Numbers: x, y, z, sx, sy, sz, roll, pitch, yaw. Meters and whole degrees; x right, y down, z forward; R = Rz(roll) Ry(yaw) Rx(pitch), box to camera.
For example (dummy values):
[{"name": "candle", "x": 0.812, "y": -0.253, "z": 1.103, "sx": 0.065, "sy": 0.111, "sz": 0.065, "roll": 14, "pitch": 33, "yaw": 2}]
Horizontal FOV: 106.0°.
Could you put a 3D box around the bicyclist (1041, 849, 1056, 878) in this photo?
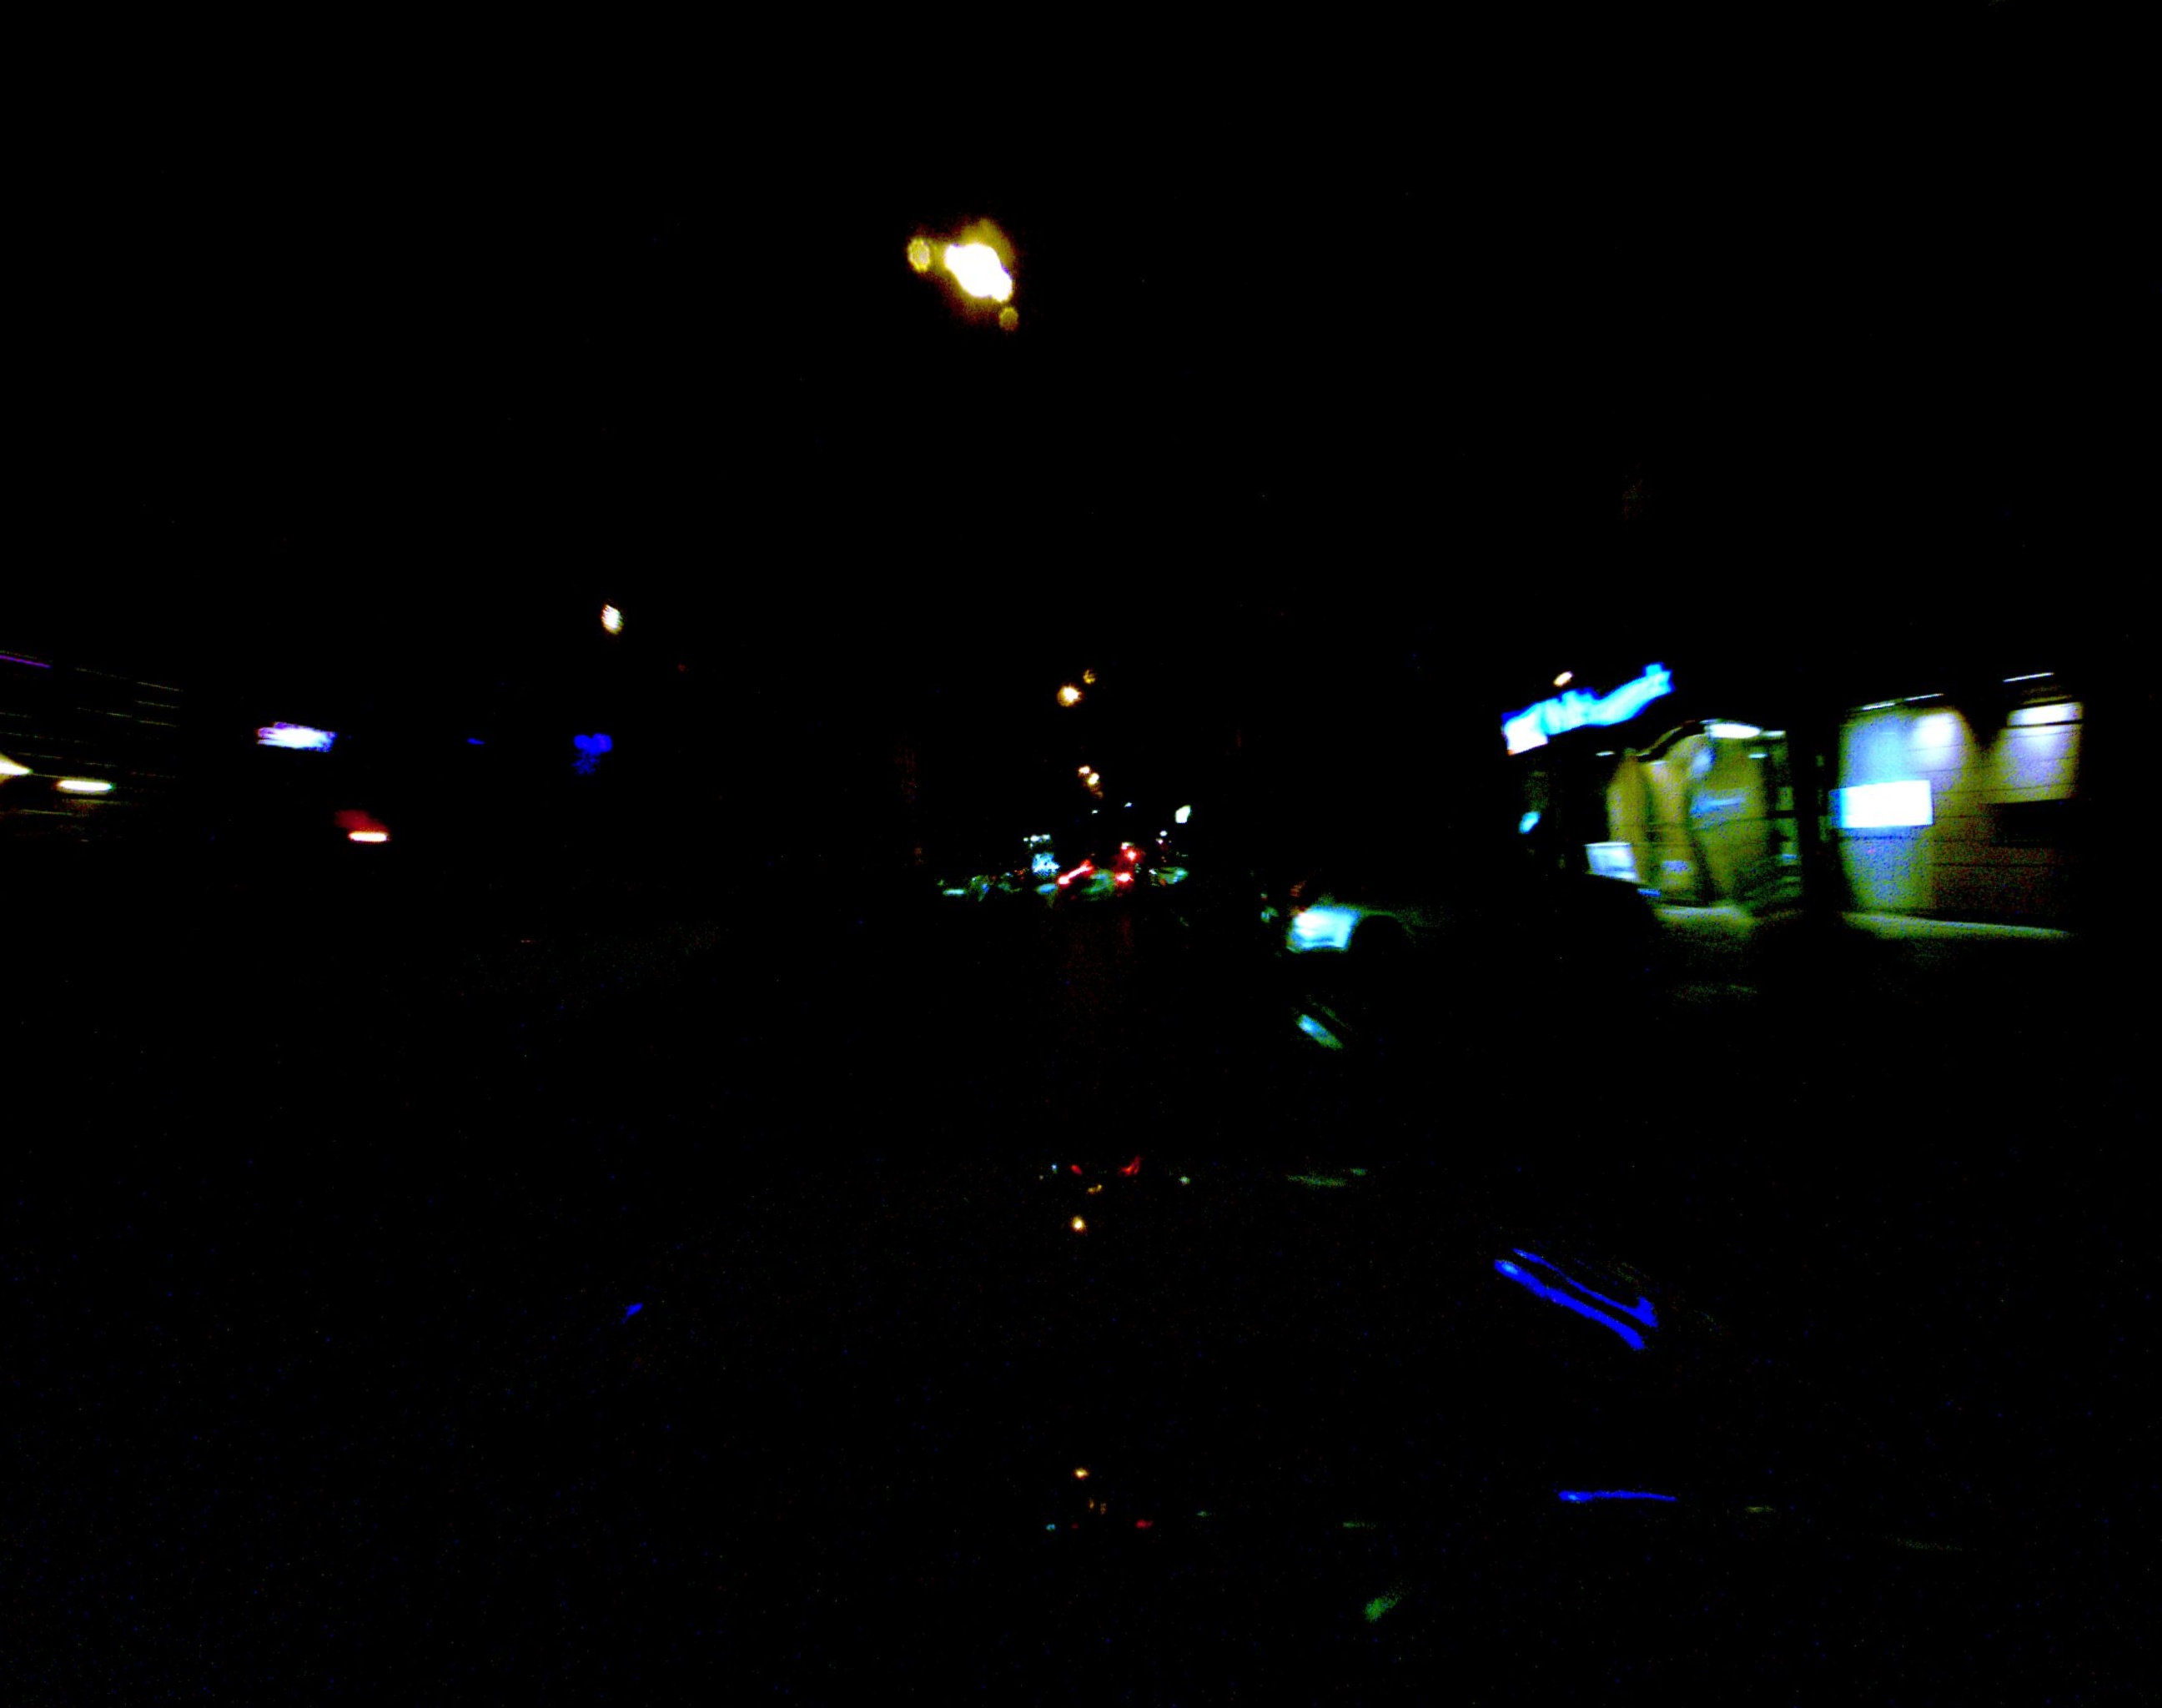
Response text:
[{"name": "bicyclist", "x": -1.851, "y": 0.521, "z": 45.967, "sx": 0.716, "sy": 1.556, "sz": 0.895, "roll": -3, "pitch": 0, "yaw": 1}]

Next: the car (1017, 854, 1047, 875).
[{"name": "car", "x": -3.726, "y": 0.778, "z": 62.574, "sx": 1.826, "sy": 1.486, "sz": 4.596, "roll": -2, "pitch": 0, "yaw": 2}]

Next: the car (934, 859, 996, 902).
[{"name": "car", "x": -4.266, "y": 0.940, "z": 30.427, "sx": 1.666, "sy": 1.491, "sz": 3.723, "roll": -1, "pitch": 0, "yaw": 1}]

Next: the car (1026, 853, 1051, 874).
[{"name": "car", "x": -3.789, "y": 0.815, "z": 73.036, "sx": 1.826, "sy": 1.717, "sz": 4.596, "roll": -2, "pitch": 0, "yaw": 2}]

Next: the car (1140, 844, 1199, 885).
[{"name": "car", "x": 3.489, "y": 0.407, "z": 32.809, "sx": 1.986, "sy": 1.464, "sz": 4.418, "roll": -2, "pitch": 0, "yaw": 1}]

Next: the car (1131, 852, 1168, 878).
[{"name": "car", "x": 4.061, "y": 0.616, "z": 48.723, "sx": 1.911, "sy": 1.412, "sz": 4.000, "roll": -2, "pitch": 0, "yaw": 1}]

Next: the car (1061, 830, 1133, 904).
[{"name": "car", "x": 0.537, "y": 0.353, "z": 25.408, "sx": 1.988, "sy": 2.049, "sz": 4.696, "roll": -2, "pitch": 0, "yaw": 2}]

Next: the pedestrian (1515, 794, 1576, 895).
[{"name": "pedestrian", "x": 8.643, "y": -0.178, "z": 15.180, "sx": 0.699, "sy": 1.788, "sz": 0.625, "roll": -4, "pitch": 1, "yaw": 5}]

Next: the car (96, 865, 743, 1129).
[{"name": "car", "x": -5.037, "y": 0.900, "z": 7.358, "sx": 1.760, "sy": 1.483, "sz": 4.775, "roll": 1, "pitch": 0, "yaw": 2}]

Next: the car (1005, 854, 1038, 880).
[{"name": "car", "x": -3.841, "y": 0.803, "z": 53.039, "sx": 1.739, "sy": 1.588, "sz": 3.767, "roll": -2, "pitch": 0, "yaw": 2}]

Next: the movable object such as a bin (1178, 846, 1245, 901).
[{"name": "movable object such as a bin", "x": 3.620, "y": 0.528, "z": 22.661, "sx": 1.347, "sy": 1.429, "sz": 1.188, "roll": -2, "pitch": 0, "yaw": -35}]

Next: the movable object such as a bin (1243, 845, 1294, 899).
[{"name": "movable object such as a bin", "x": 5.237, "y": 0.496, "z": 22.838, "sx": 1.300, "sy": 1.429, "sz": 1.053, "roll": -2, "pitch": 0, "yaw": 11}]

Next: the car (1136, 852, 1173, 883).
[{"name": "car", "x": 3.872, "y": 0.695, "z": 43.431, "sx": 1.683, "sy": 1.498, "sz": 3.892, "roll": -2, "pitch": 0, "yaw": 1}]

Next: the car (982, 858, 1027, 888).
[{"name": "car", "x": -3.953, "y": 0.967, "z": 42.784, "sx": 1.815, "sy": 1.389, "sz": 4.427, "roll": -2, "pitch": 0, "yaw": 1}]

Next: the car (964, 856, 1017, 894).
[{"name": "car", "x": -4.061, "y": 0.911, "z": 37.088, "sx": 1.768, "sy": 1.572, "sz": 4.136, "roll": -2, "pitch": 0, "yaw": 1}]

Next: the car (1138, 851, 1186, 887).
[{"name": "car", "x": 3.706, "y": 0.668, "z": 38.015, "sx": 1.685, "sy": 1.498, "sz": 3.888, "roll": -2, "pitch": 0, "yaw": -2}]

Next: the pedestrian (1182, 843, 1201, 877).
[{"name": "pedestrian", "x": 6.049, "y": 0.321, "z": 44.639, "sx": 0.858, "sy": 1.788, "sz": 1.084, "roll": -4, "pitch": 1, "yaw": 5}]

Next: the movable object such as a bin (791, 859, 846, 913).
[{"name": "movable object such as a bin", "x": -7.640, "y": 0.909, "z": 23.779, "sx": 1.098, "sy": 1.454, "sz": 1.378, "roll": -3, "pitch": 0, "yaw": -1}]

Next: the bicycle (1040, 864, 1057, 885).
[{"name": "bicycle", "x": -1.812, "y": 1.148, "z": 45.937, "sx": 0.724, "sy": 1.072, "sz": 2.349, "roll": -3, "pitch": 0, "yaw": 2}]

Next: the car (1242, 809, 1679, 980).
[{"name": "car", "x": 4.458, "y": 0.462, "z": 10.089, "sx": 4.497, "sy": 1.530, "sz": 1.780, "roll": -5, "pitch": 0, "yaw": 0}]
